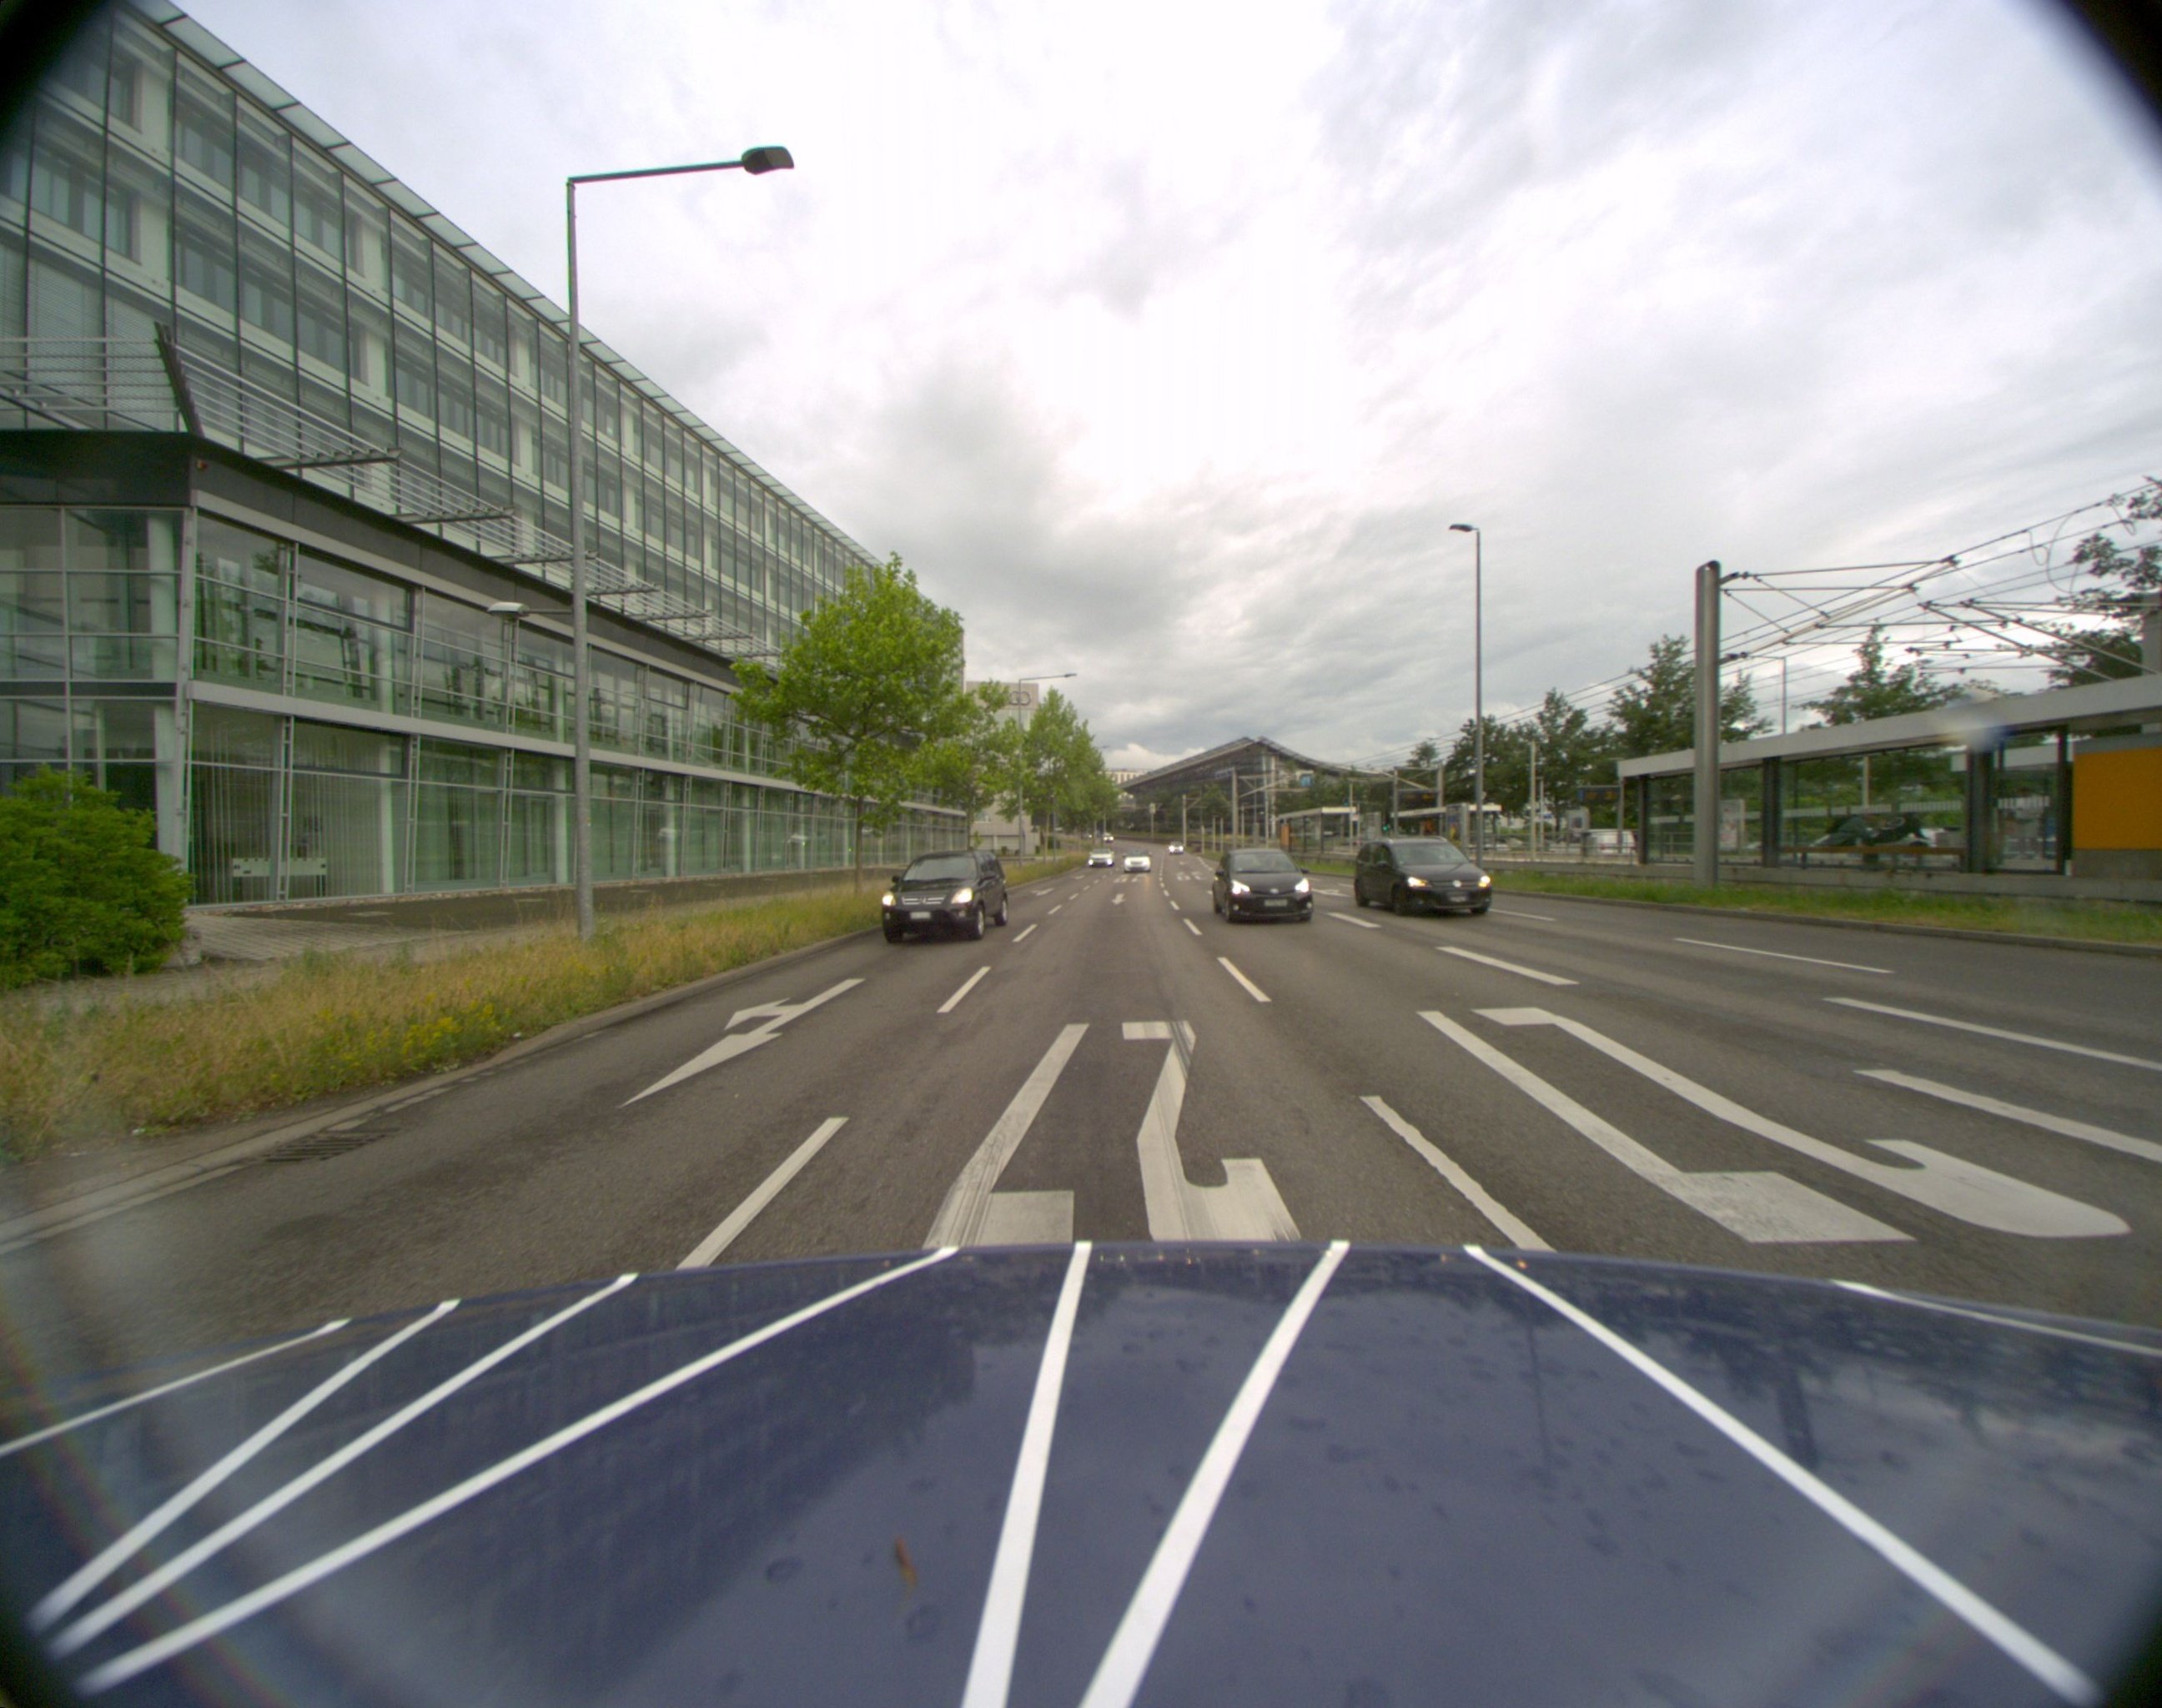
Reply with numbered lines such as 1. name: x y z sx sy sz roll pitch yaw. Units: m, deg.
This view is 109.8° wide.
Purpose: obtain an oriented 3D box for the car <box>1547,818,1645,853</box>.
1. car: 28.876 -1.047 42.846 1.999 1.721 5.028 -3 2 -1

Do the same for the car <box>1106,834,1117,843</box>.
1. car: 6.141 -3.207 152.170 1.829 1.701 4.152 -3 2 -1

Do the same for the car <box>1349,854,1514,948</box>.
1. car: 7.432 0.899 16.604 1.731 1.583 4.192 -3 2 1

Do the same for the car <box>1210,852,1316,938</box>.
1. car: 3.826 0.785 16.541 1.696 1.514 3.905 -3 1 6

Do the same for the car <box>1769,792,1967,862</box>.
1. car: 28.474 -0.969 27.819 1.998 2.202 5.142 -3 2 2

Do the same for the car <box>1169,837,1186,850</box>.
1. car: 11.301 -1.230 89.240 1.739 1.470 4.001 -2 1 6

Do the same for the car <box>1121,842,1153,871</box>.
1. car: 3.662 0.119 50.035 1.805 1.713 3.999 -3 1 1

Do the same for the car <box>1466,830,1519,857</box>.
1. car: 32.042 -0.850 59.292 1.998 2.002 3.999 -3 2 1

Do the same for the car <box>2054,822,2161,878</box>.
1. car: 35.251 -0.139 24.412 2.110 1.690 4.665 -3 2 2

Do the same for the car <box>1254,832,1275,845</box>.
1. car: 26.805 -2.268 111.103 1.999 1.837 3.998 -3 2 -3

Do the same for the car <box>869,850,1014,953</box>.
1. car: -2.589 0.811 15.212 1.769 1.621 4.325 -3 1 4

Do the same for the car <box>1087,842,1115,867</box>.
1. car: 1.567 0.006 60.520 1.998 1.669 3.821 -5 2 1
